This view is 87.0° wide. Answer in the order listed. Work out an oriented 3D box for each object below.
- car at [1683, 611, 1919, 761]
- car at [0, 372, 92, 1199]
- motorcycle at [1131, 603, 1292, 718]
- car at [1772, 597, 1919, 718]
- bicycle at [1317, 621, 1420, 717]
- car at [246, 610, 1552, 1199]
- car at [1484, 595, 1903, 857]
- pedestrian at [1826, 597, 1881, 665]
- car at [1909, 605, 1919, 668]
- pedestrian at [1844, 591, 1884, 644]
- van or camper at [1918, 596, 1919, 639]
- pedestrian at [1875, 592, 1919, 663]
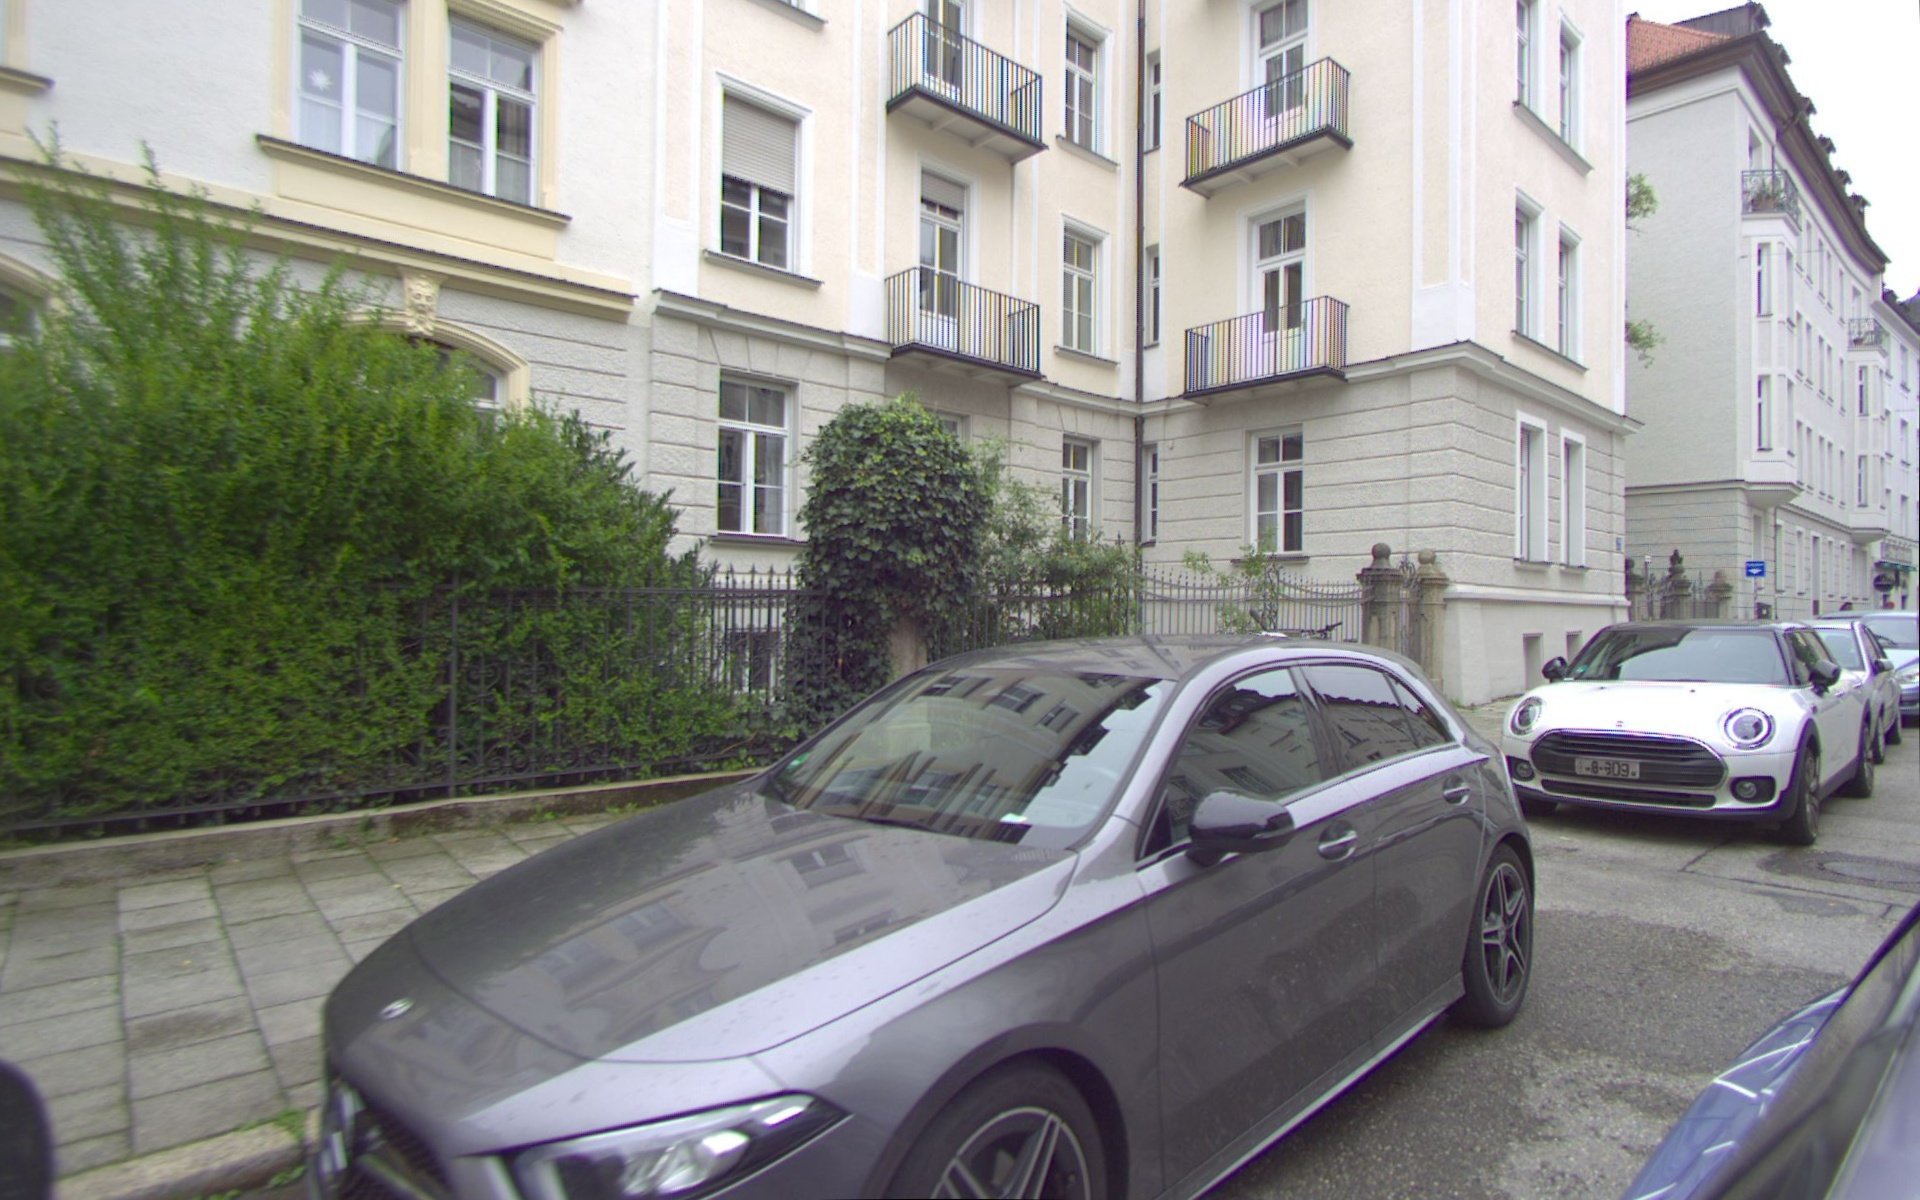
[{"bbox_3d":[9.703,0.840,11.435,3.391,1.424,1.757,1,-1,-41],"label":"car"},{"bbox_3d":[-3.043,0.577,0.115,4.350,1.632,1.751,1,-3,-45],"label":"car"},{"bbox_3d":[2.719,0.612,10.838,1.928,1.126,0.609,1,0,-38],"label":"motorcycle"},{"bbox_3d":[13.900,0.812,15.136,4.320,1.590,1.825,1,-3,-39],"label":"car"},{"bbox_3d":[5.265,0.852,12.985,1.848,1.140,0.435,1,-1,-41],"label":"bicycle"},{"bbox_3d":[0.288,0.800,3.185,3.950,1.524,1.685,1,-1,-44],"label":"car"},{"bbox_3d":[5.849,0.756,7.891,3.994,1.524,1.787,1,-1,-41],"label":"car"},{"bbox_3d":[24.432,0.838,27.665,1.090,1.809,0.886,1,-1,-35],"label":"pedestrian"},{"bbox_3d":[24.802,0.873,24.594,4.628,1.476,1.997,1,-1,-40],"label":"car"},{"bbox_3d":[31.988,0.613,35.812,1.091,1.836,0.885,1,-1,-40],"label":"pedestrian"},{"bbox_3d":[66.653,1.213,66.132,5.850,2.749,2.268,0,-3,43],"label":"van or camper"},{"bbox_3d":[25.006,0.715,26.837,1.090,1.835,0.886,1,-1,-36],"label":"pedestrian"}]
